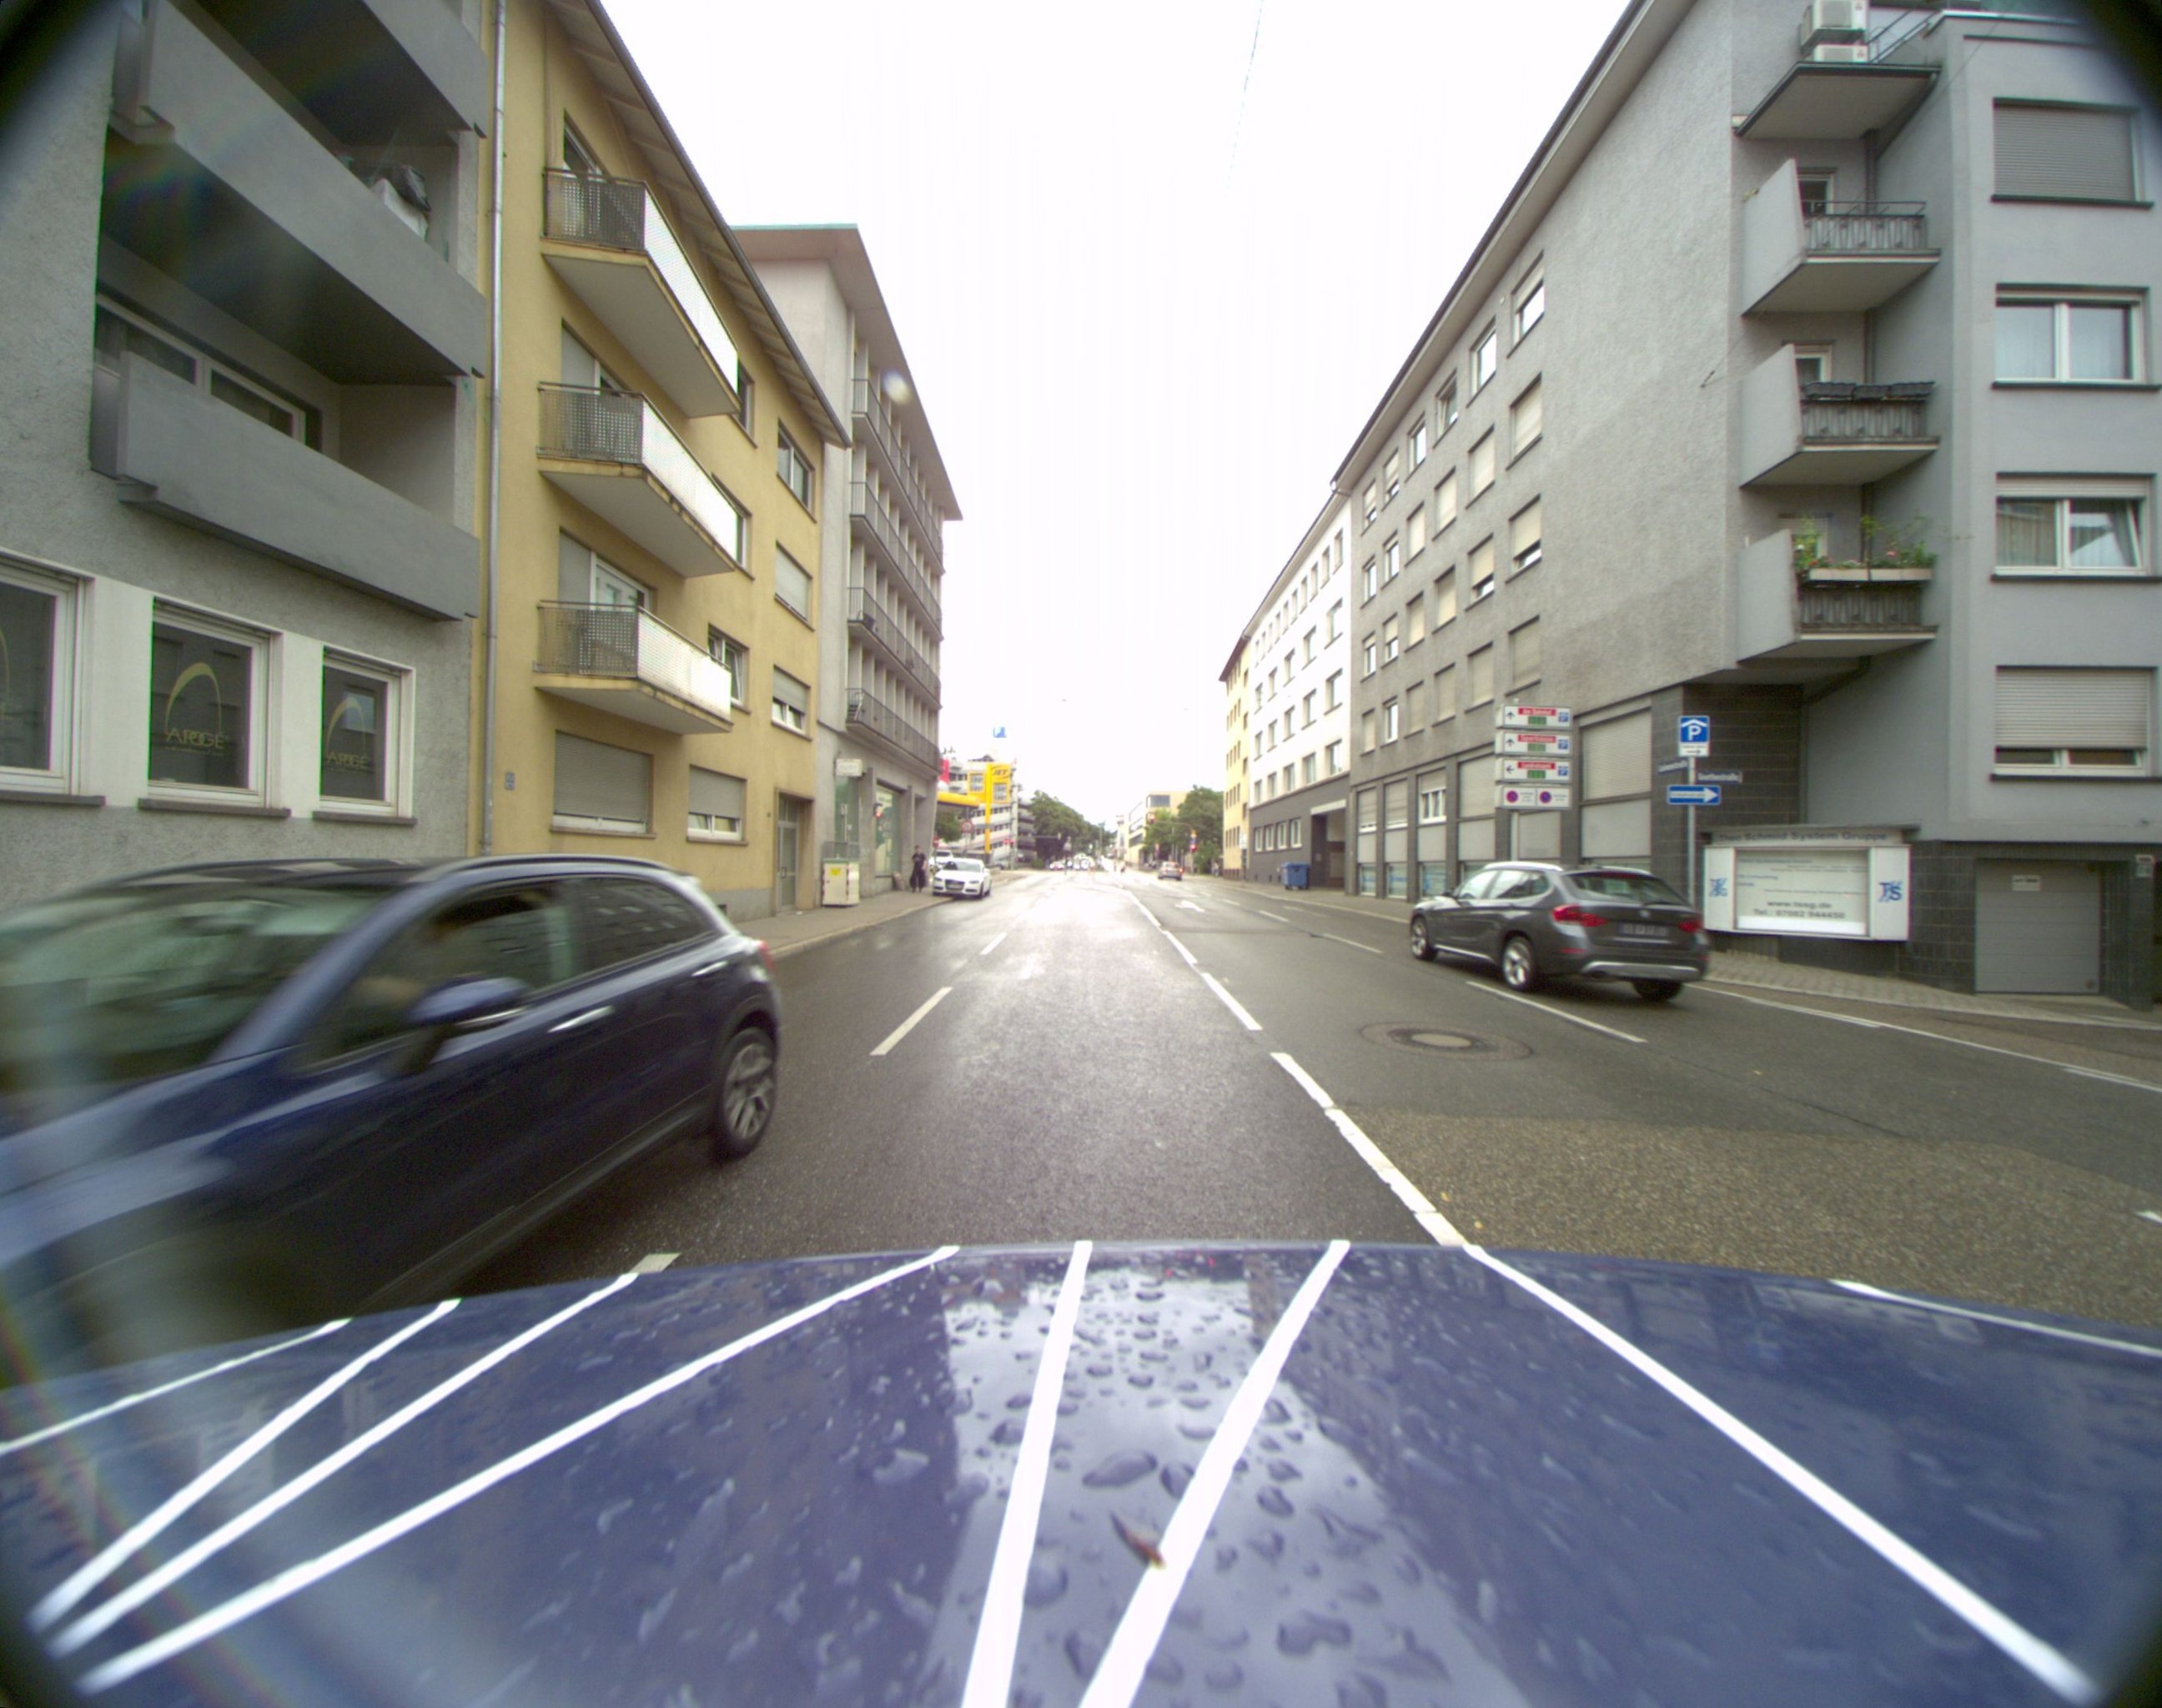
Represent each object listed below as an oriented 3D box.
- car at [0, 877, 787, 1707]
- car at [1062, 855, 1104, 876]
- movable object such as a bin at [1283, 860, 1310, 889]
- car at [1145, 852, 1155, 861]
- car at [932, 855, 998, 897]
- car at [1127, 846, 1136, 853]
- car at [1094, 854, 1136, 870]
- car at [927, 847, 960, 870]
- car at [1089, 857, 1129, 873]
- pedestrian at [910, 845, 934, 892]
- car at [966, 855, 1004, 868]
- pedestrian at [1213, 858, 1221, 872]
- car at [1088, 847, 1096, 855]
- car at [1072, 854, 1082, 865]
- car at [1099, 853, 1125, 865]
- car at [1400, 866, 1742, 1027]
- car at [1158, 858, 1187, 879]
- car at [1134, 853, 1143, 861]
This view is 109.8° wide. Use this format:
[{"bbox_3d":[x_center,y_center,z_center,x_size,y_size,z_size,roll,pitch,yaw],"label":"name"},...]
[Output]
[{"bbox_3d":[-2.644,0.945,2.440,1.771,1.571,4.000,-1,0,1],"label":"car"},{"bbox_3d":[0.223,1.060,70.830,3.794,1.823,1.692,-3,0,2],"label":"car"},{"bbox_3d":[10.425,0.992,36.794,0.946,1.325,1.096,-3,1,1],"label":"movable object such as a bin"},{"bbox_3d":[15.460,0.584,170.057,1.998,1.863,3.999,-2,1,0],"label":"car"},{"bbox_3d":[-4.367,0.789,29.093,1.803,1.427,4.166,1,0,1],"label":"car"},{"bbox_3d":[12.865,-1.114,192.895,1.998,1.683,4.000,-2,1,2],"label":"car"},{"bbox_3d":[3.261,0.791,73.792,3.996,1.499,1.738,1,1,2],"label":"car"},{"bbox_3d":[-9.218,0.278,51.332,1.771,1.465,3.998,-2,0,-5],"label":"car"},{"bbox_3d":[2.794,1.126,76.929,3.996,1.499,1.738,1,1,2],"label":"car"},{"bbox_3d":[-6.025,0.557,28.813,0.679,1.745,0.888,1,1,2],"label":"pedestrian"},{"bbox_3d":[-11.248,0.889,89.002,4.006,1.499,1.734,1,1,-26],"label":"car"},{"bbox_3d":[11.697,0.944,65.265,0.582,1.143,0.407,3,1,21],"label":"pedestrian"},{"bbox_3d":[2.960,-0.753,205.407,1.998,2.002,3.999,-2,1,1],"label":"car"},{"bbox_3d":[-0.767,1.114,151.462,1.998,2.002,3.999,-2,1,0],"label":"car"},{"bbox_3d":[4.878,0.804,120.113,3.995,1.736,2.000,-2,1,5],"label":"car"},{"bbox_3d":[5.904,0.986,9.885,1.707,1.498,4.159,3,0,0],"label":"car"},{"bbox_3d":[7.418,1.157,62.134,1.883,1.580,4.373,0,0,1],"label":"car"},{"bbox_3d":[13.540,0.734,178.656,1.998,1.683,4.000,-2,1,2],"label":"car"}]
